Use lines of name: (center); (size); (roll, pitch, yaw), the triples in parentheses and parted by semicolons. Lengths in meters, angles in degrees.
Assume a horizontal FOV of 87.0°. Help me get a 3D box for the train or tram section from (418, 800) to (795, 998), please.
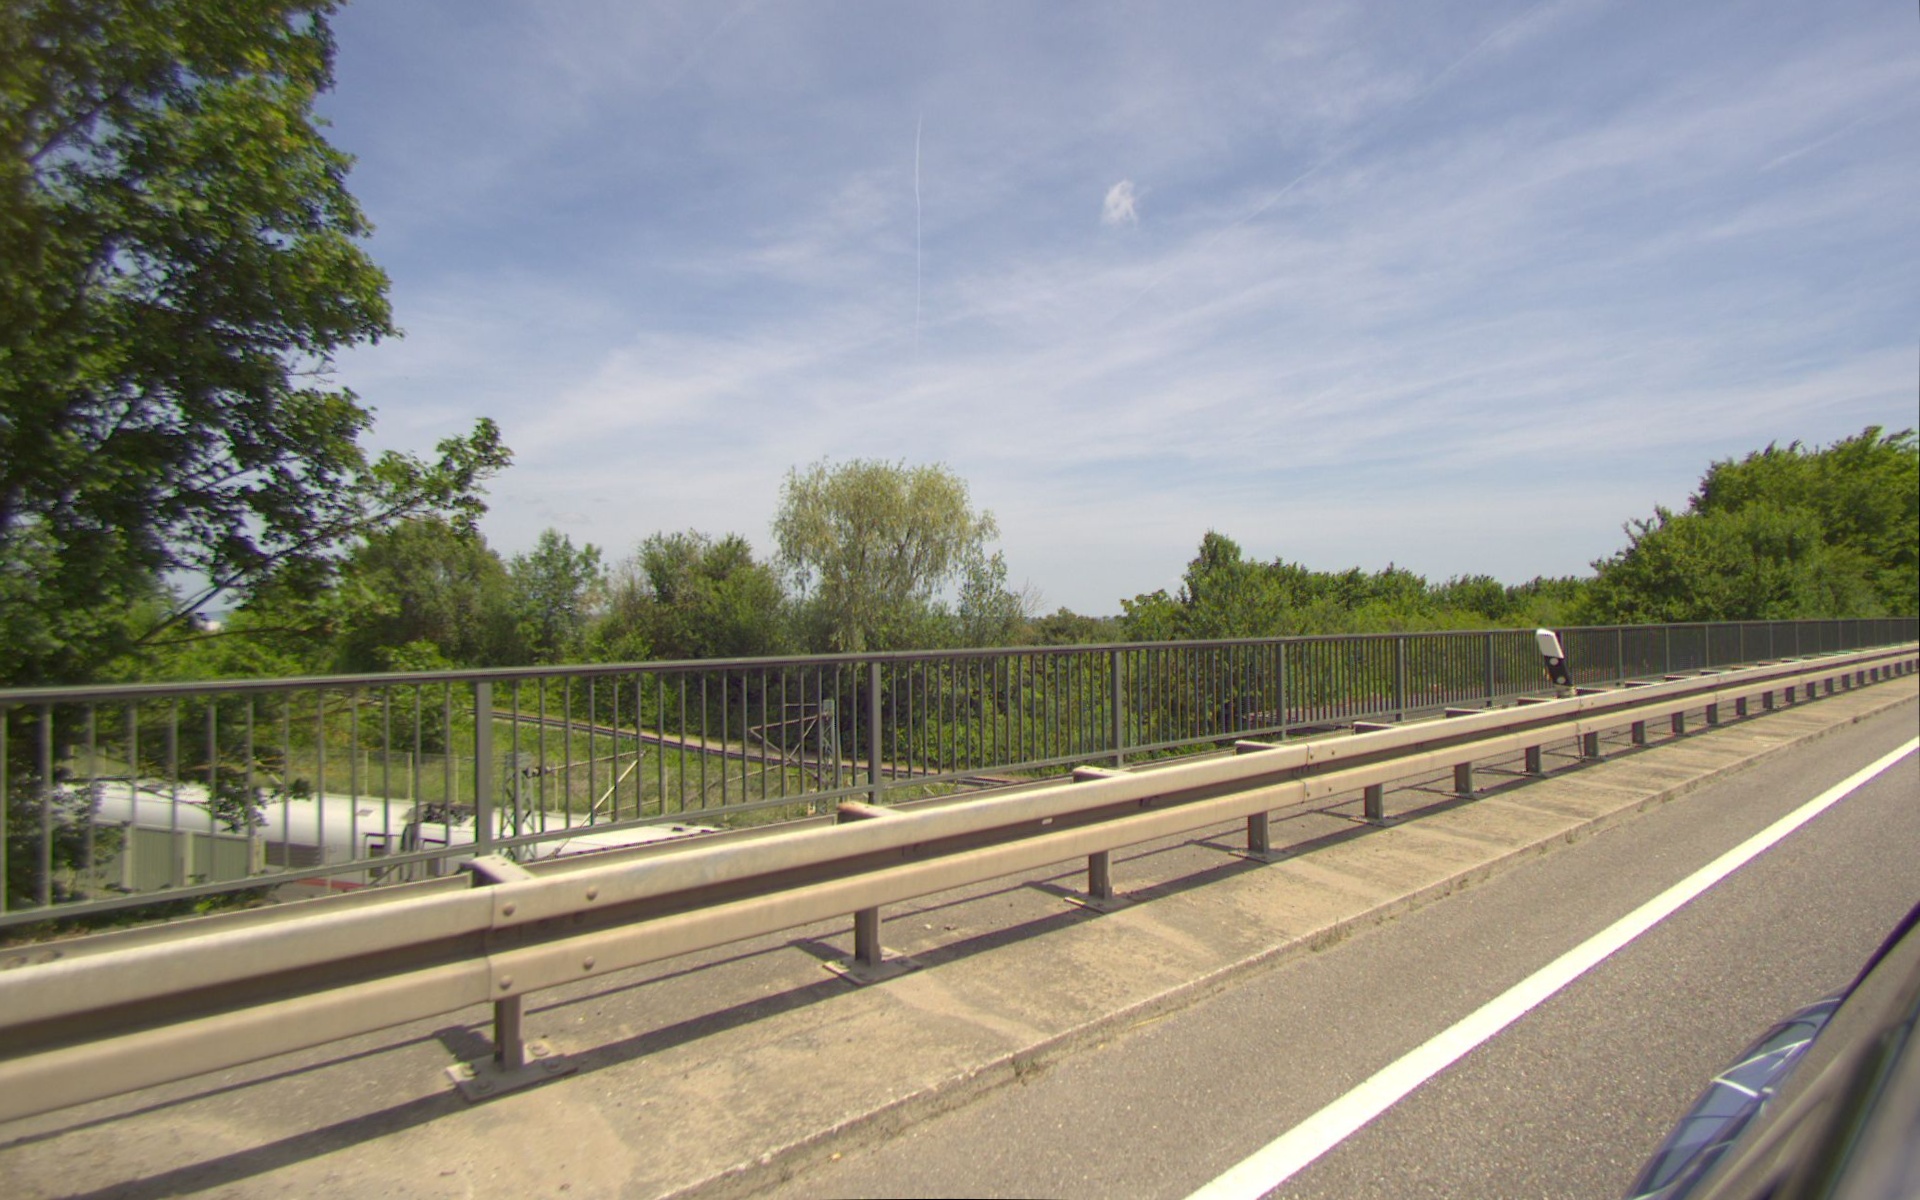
train or tram section: (-11.088, 8.889, 31.202); (12.298, 4.285, 2.536); (-1, -1, 21)

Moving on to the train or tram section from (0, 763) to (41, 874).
train or tram section: (-45.667, 9.378, 44.397); (12.293, 4.285, 2.537); (-1, -1, 20)

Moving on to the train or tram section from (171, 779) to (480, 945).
train or tram section: (-22.583, 8.958, 35.750); (12.302, 4.285, 2.535); (-1, -1, 22)

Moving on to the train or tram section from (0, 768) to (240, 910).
train or tram section: (-34.094, 9.252, 40.145); (12.293, 4.285, 2.537); (-1, -1, 20)
